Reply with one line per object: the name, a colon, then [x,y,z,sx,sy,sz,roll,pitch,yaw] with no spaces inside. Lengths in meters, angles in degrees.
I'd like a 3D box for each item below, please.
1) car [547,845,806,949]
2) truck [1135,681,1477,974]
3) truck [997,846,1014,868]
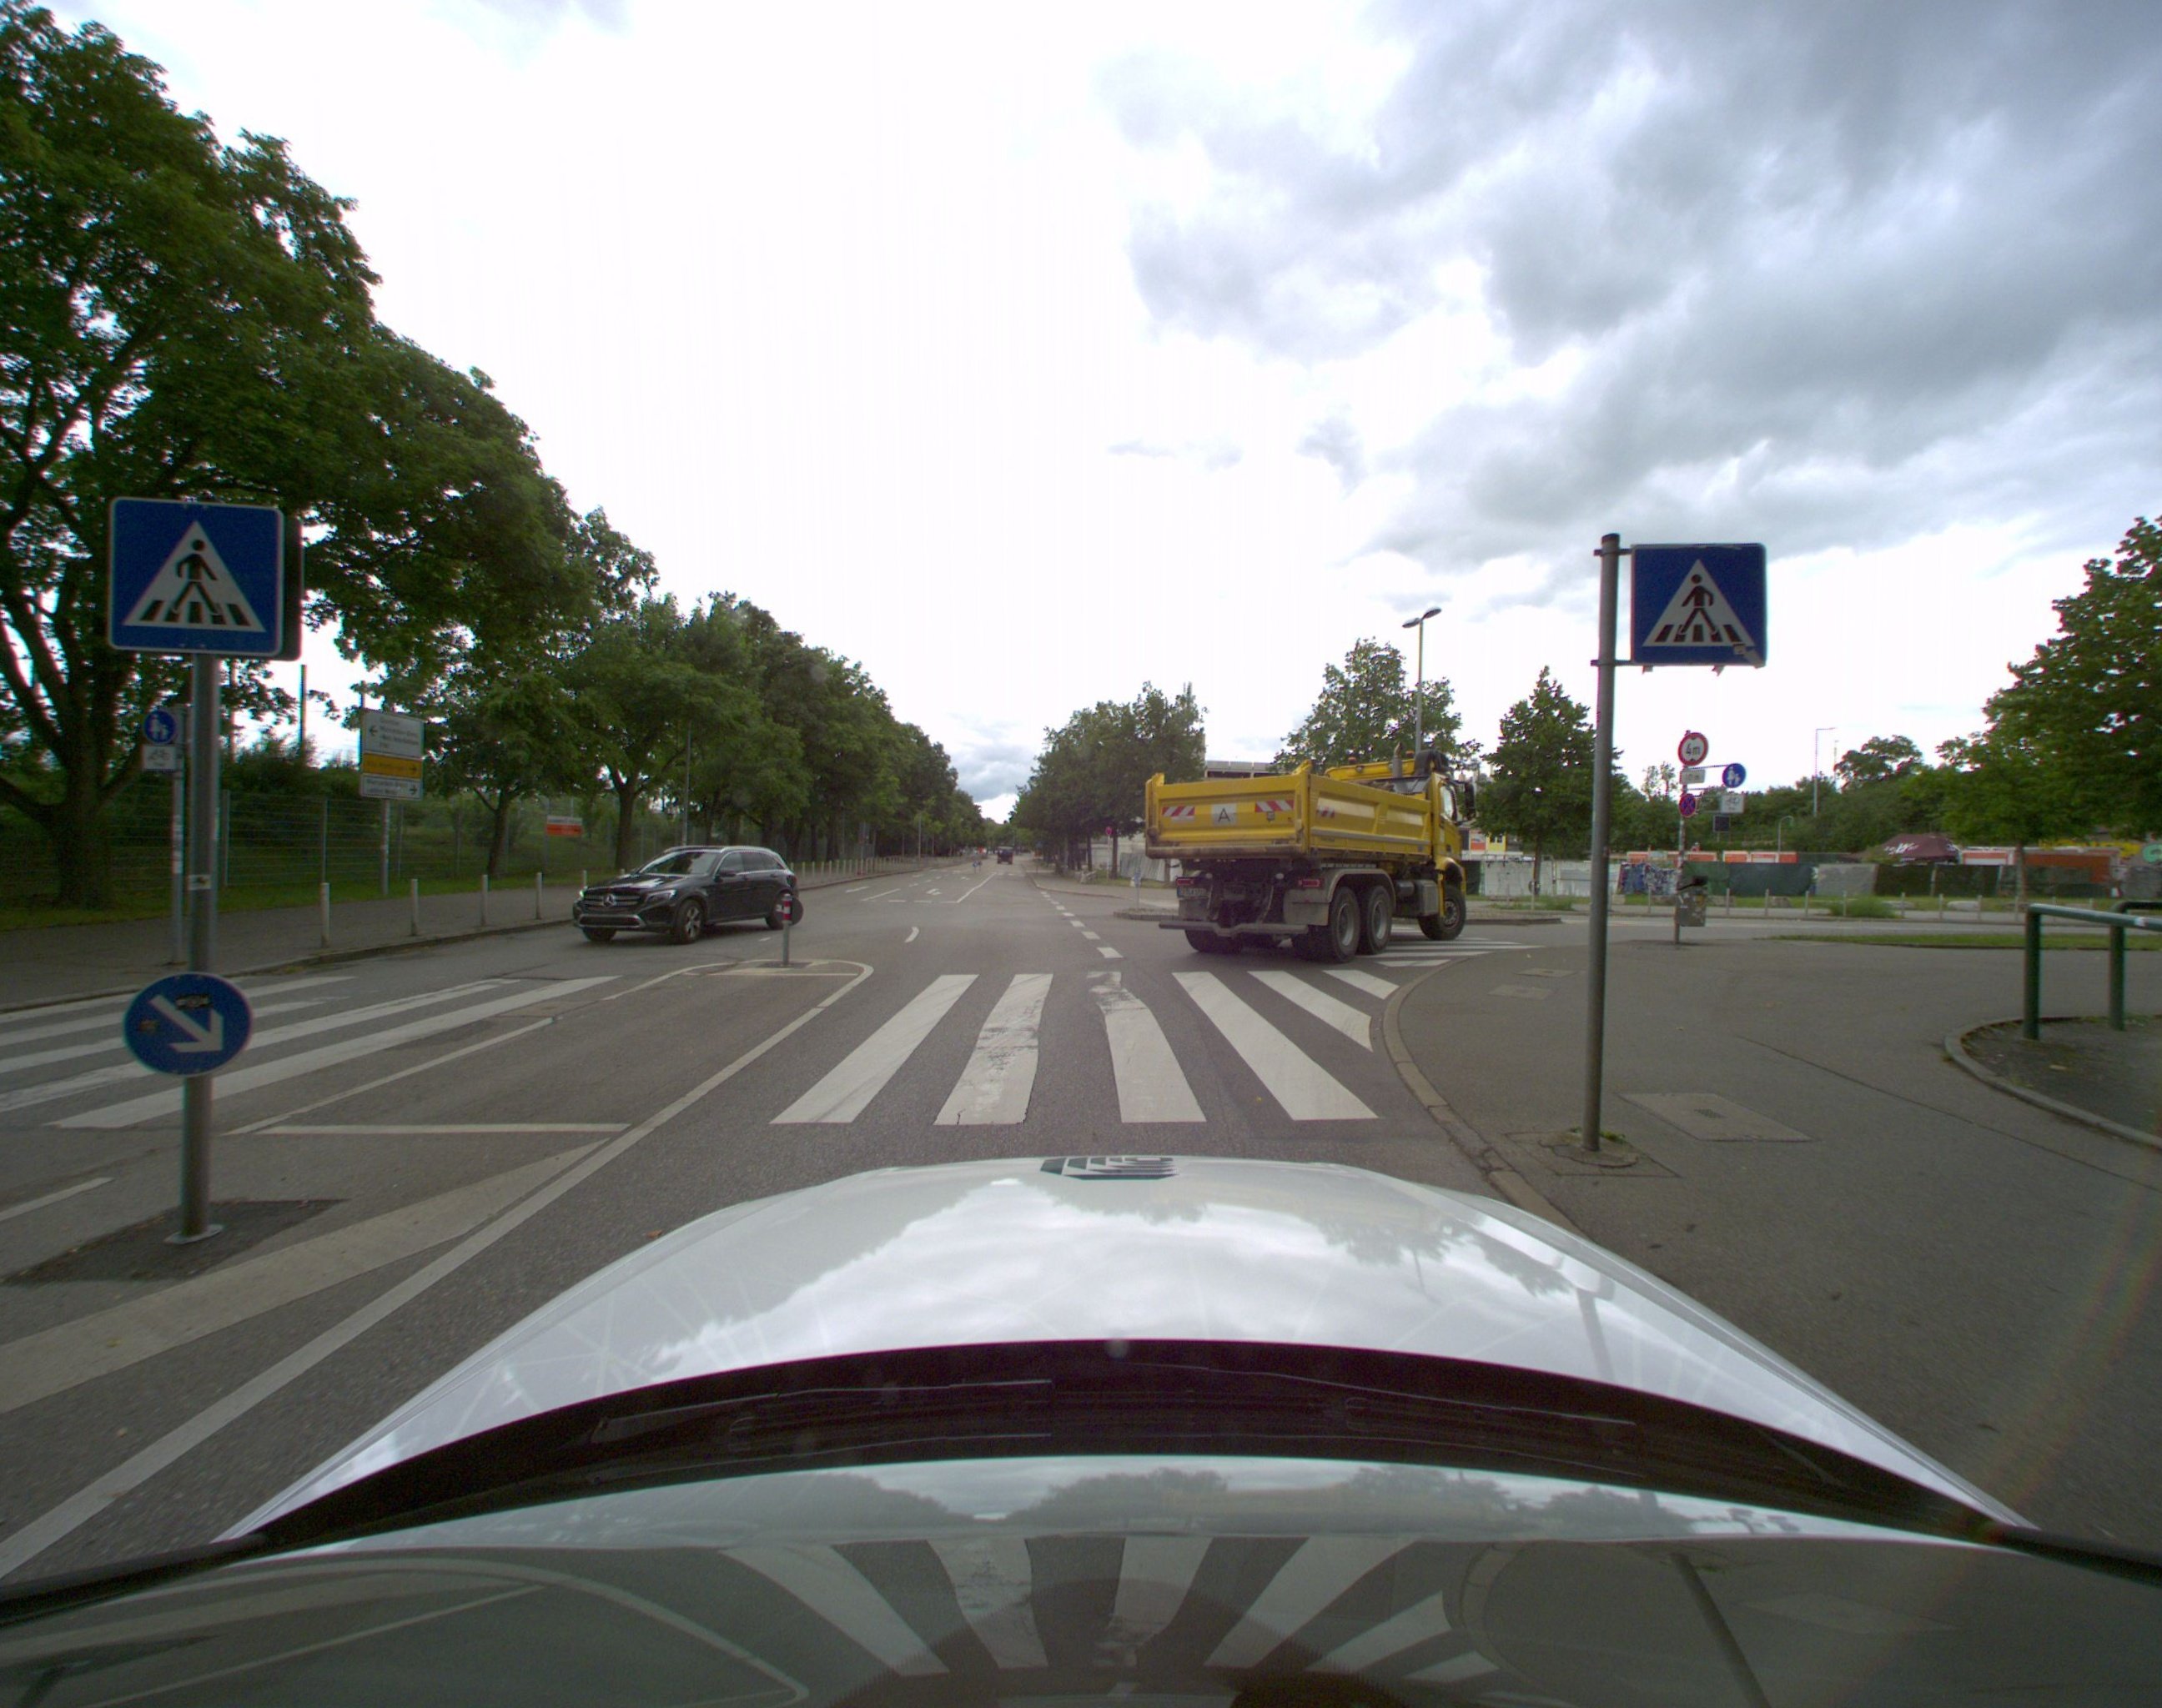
car: [-7.075,0.655,14.908,1.828,1.574,4.564,1,0,11]
truck: [4.393,-0.336,14.220,2.731,3.698,7.930,-2,-1,39]
truck: [-12.634,0.570,136.483,2.669,3.558,7.907,-1,-1,-5]
